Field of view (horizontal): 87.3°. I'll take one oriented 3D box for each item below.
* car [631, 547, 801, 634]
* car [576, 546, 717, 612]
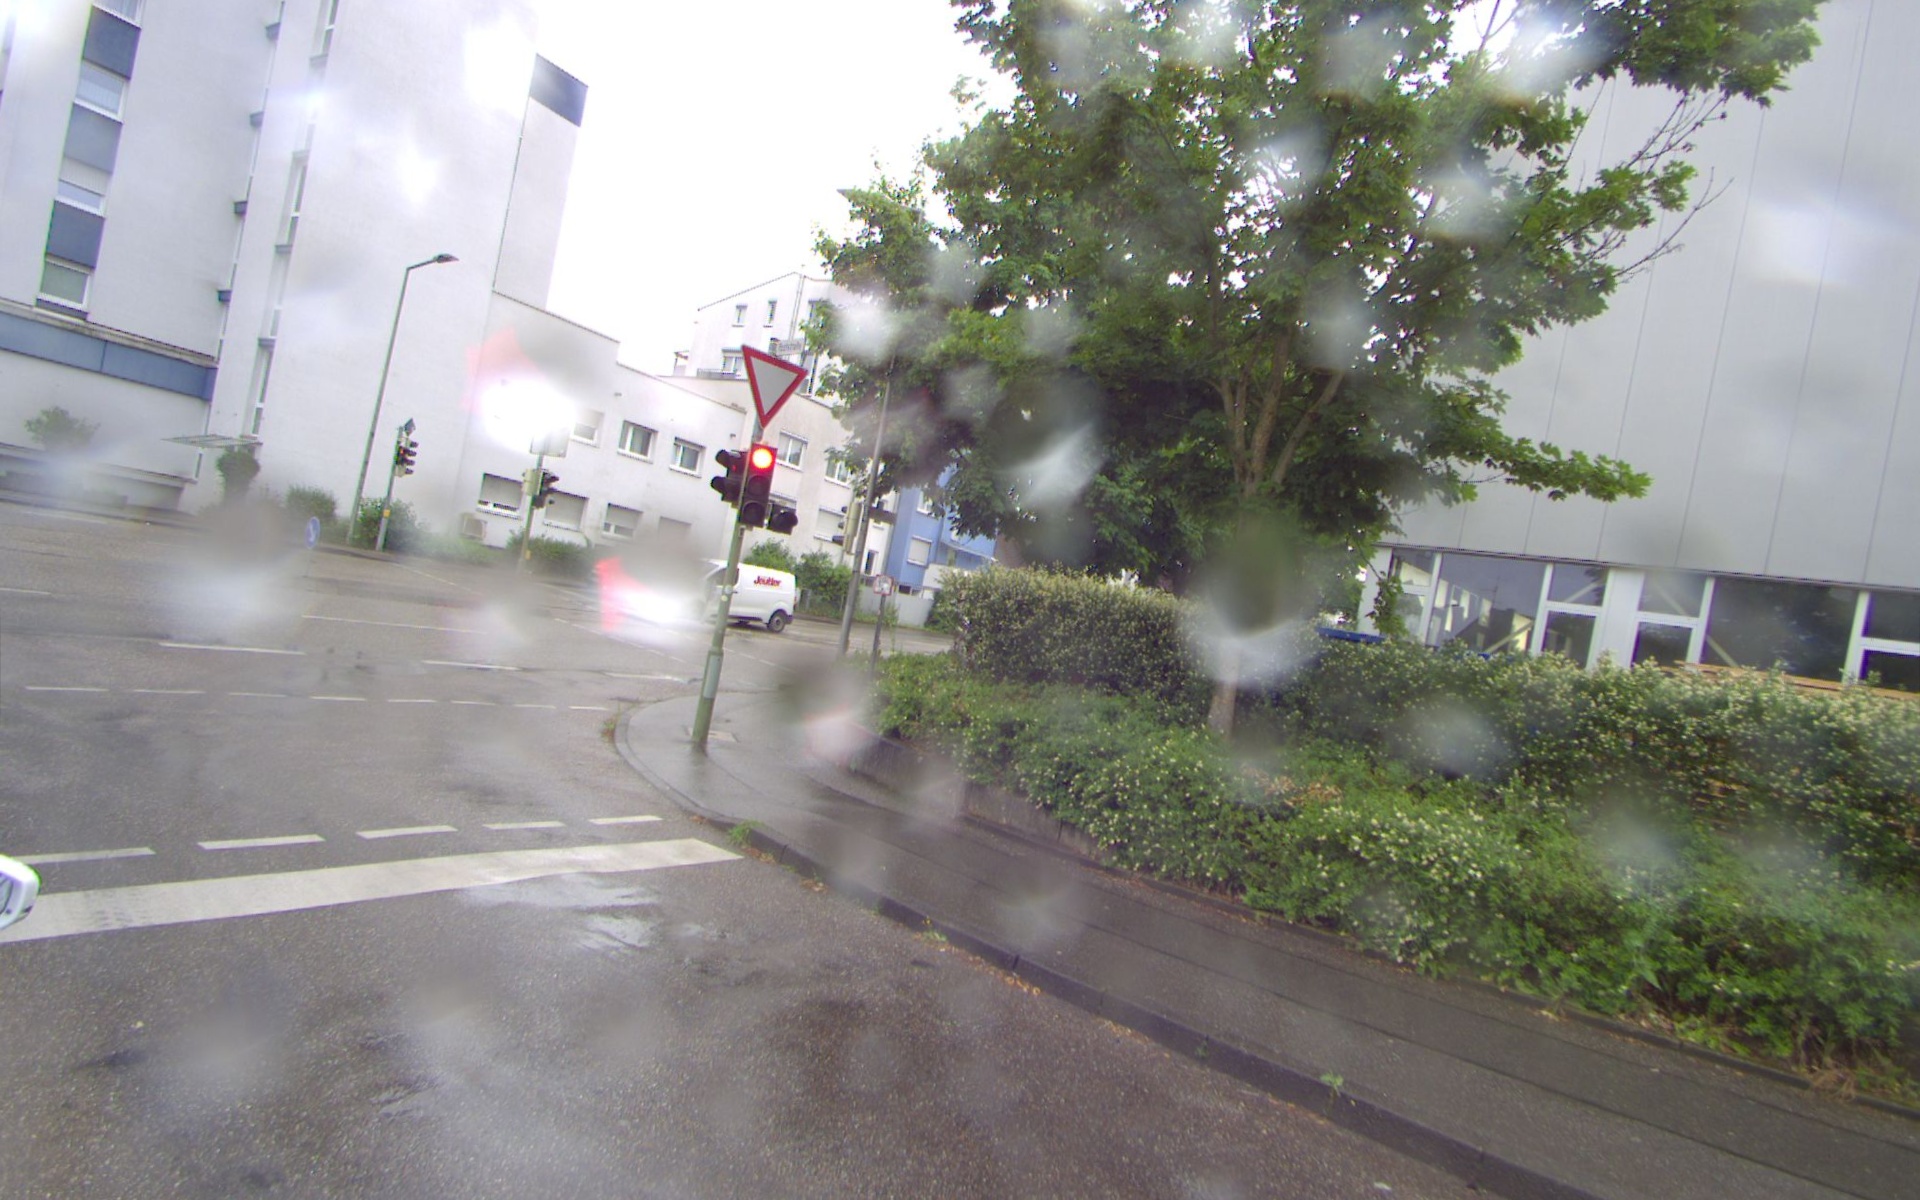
[{"bbox_3d":[-7.370,-0.237,30.875,1.800,1.938,4.816,7,-2,39],"label":"car"},{"bbox_3d":[-10.177,-0.653,32.908,1.803,1.485,3.989,9,0,36],"label":"car"}]
